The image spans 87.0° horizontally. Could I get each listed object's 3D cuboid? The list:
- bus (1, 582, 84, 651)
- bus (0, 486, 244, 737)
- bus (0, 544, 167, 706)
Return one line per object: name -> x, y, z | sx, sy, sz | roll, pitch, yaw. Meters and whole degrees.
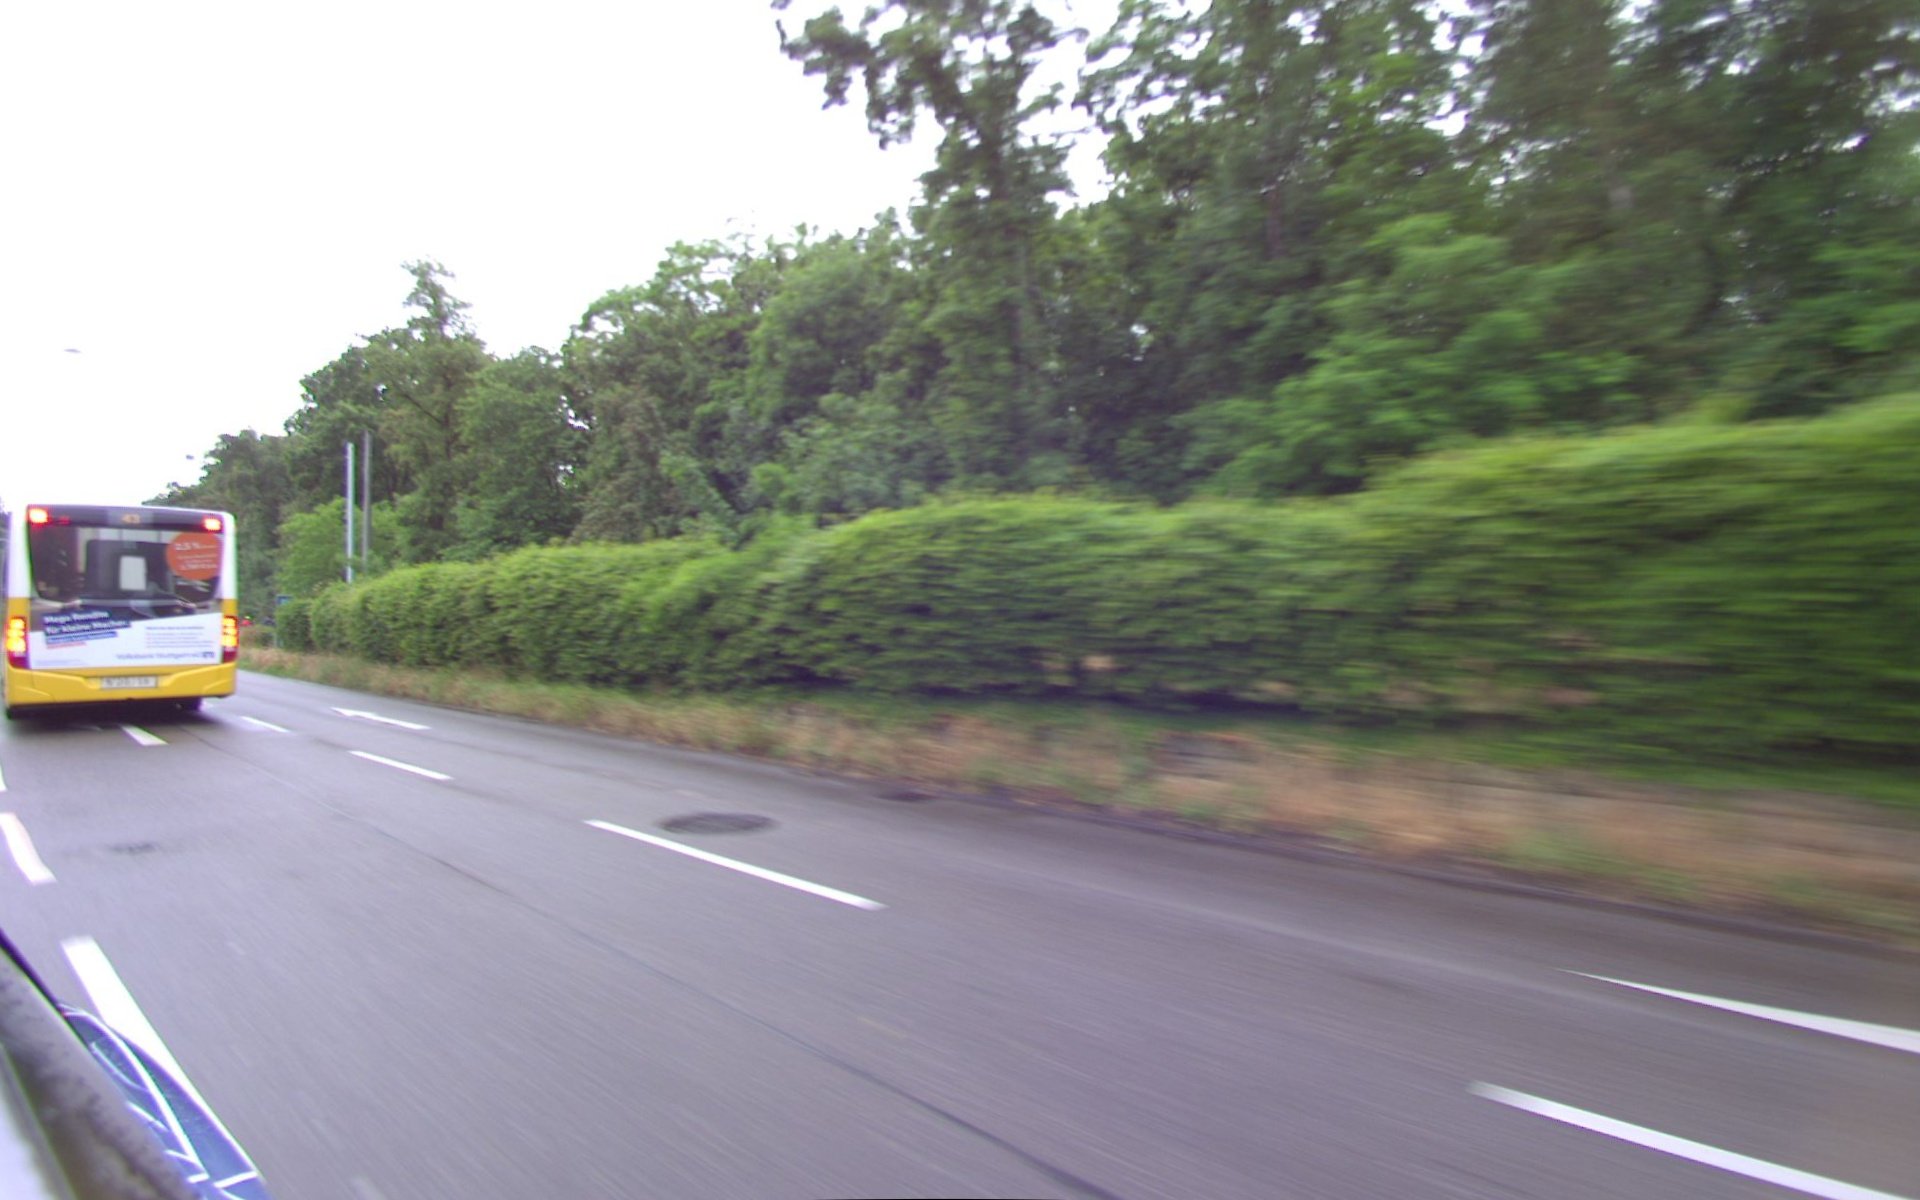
bus -> -49.702, 0.935, 55.001 | 2.642, 3.424, 8.698 | 0, -2, -38
bus -> -14.246, 0.216, 16.796 | 2.564, 3.182, 8.641 | 0, -1, -44
bus -> -20.485, 0.547, 23.248 | 2.613, 3.068, 9.236 | 0, -1, -44
